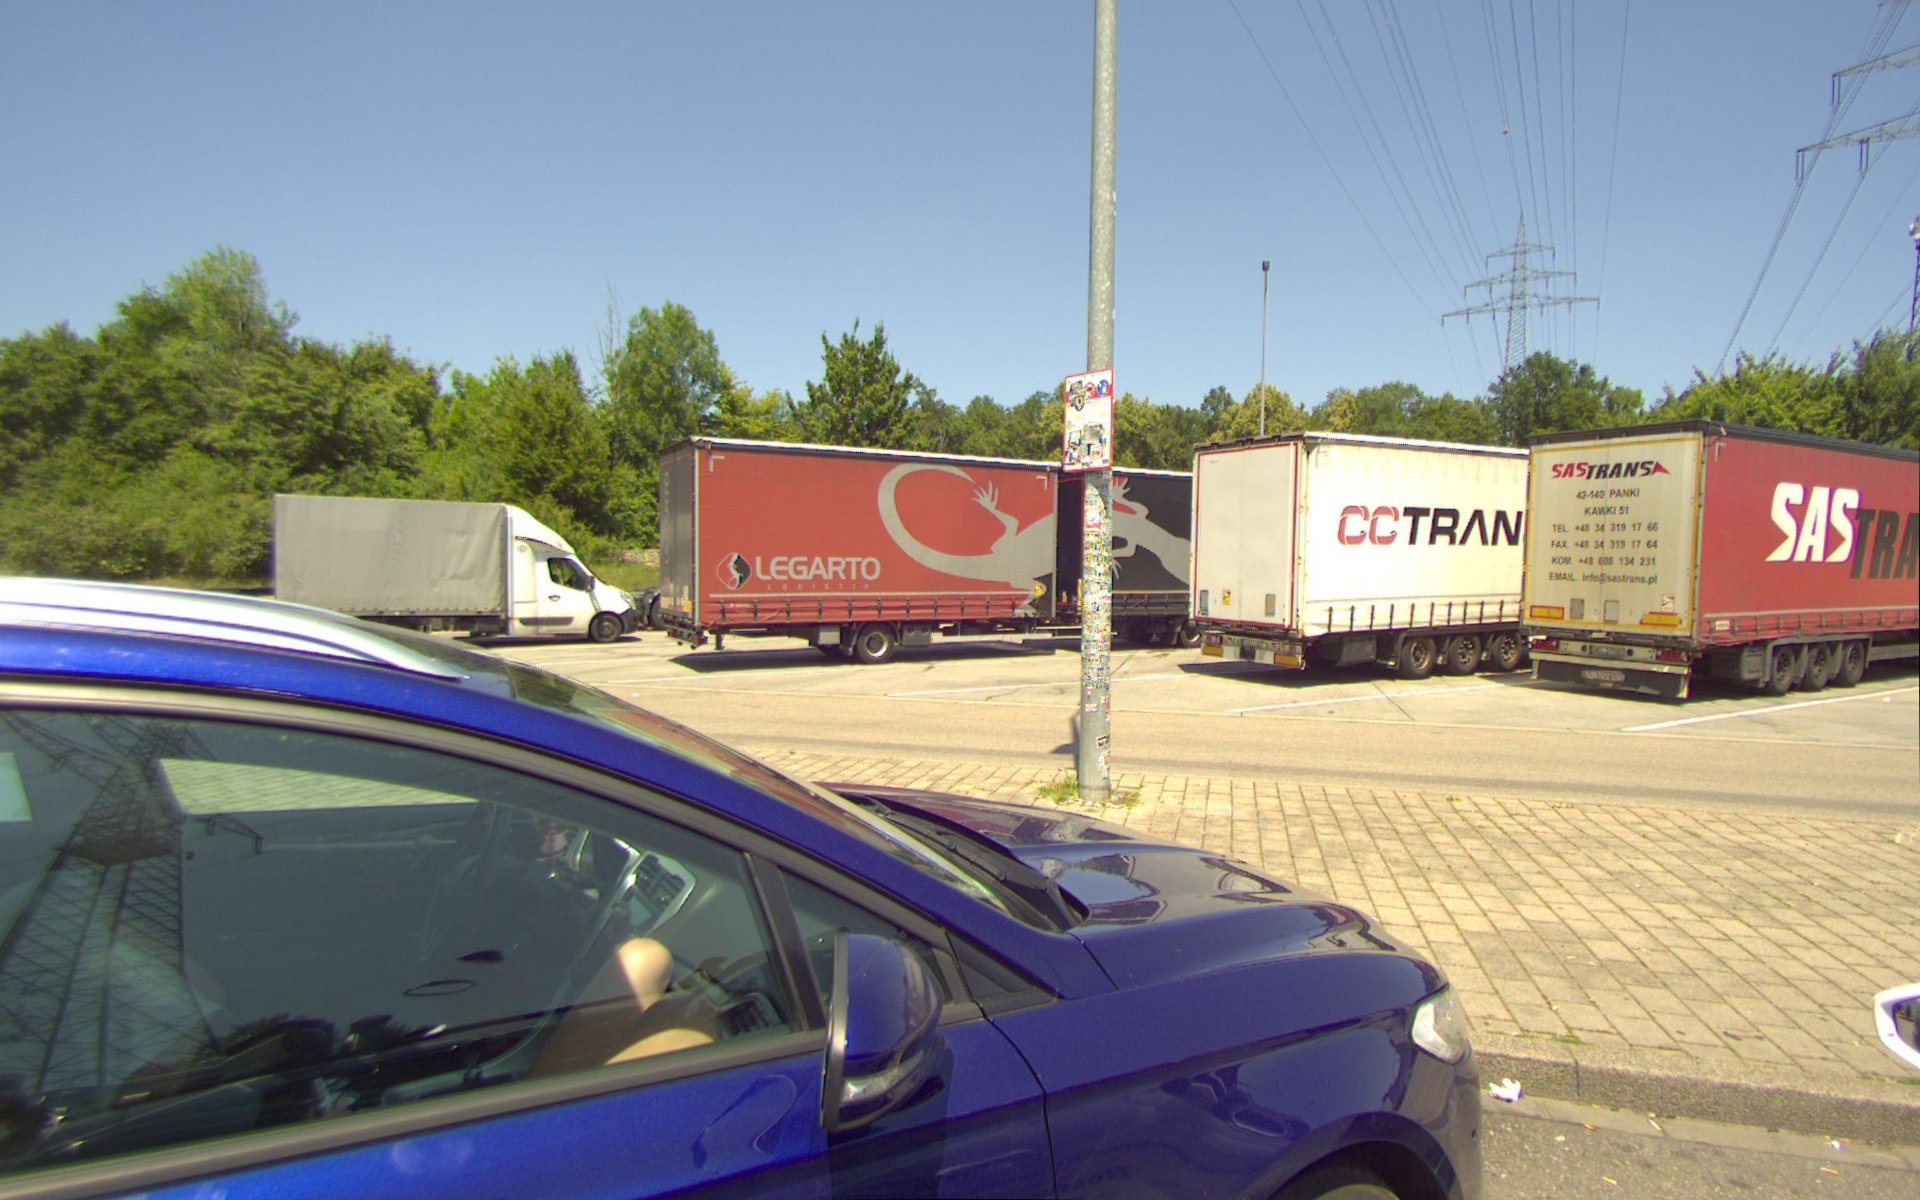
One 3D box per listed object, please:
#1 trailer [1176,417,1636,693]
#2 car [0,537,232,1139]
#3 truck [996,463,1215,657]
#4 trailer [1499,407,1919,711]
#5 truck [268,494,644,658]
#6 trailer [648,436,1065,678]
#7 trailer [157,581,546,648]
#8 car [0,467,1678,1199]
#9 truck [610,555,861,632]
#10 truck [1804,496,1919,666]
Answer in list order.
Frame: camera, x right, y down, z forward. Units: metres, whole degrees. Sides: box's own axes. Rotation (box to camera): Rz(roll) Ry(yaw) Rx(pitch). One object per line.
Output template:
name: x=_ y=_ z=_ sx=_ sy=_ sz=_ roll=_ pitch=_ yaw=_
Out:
trailer: x=8.876 y=-0.820 z=19.326 sx=10.049 sy=4.267 sz=2.714 roll=-1 pitch=3 yaw=-30
car: x=-4.541 y=0.587 z=2.251 sx=4.592 sy=1.554 sz=1.726 roll=0 pitch=1 yaw=-33
truck: x=3.365 y=-0.905 z=23.358 sx=4.273 sy=4.072 sz=2.689 roll=-1 pitch=3 yaw=-30
trailer: x=15.415 y=-0.702 z=18.562 sx=13.559 sy=4.189 sz=2.892 roll=-1 pitch=3 yaw=-30
truck: x=-11.193 y=-0.574 z=22.897 sx=7.254 sy=3.254 sz=2.515 roll=-1 pitch=3 yaw=-30
trailer: x=-1.917 y=-0.830 z=20.263 sx=7.996 sy=4.101 sz=2.696 roll=-1 pitch=3 yaw=-30
trailer: x=-14.822 y=0.257 z=25.180 sx=7.996 sy=1.394 sz=2.211 roll=-1 pitch=3 yaw=-30
car: x=-0.967 y=0.660 z=1.467 sx=4.592 sy=1.502 sz=1.727 roll=0 pitch=0 yaw=-33
truck: x=-6.475 y=-0.166 z=29.522 sx=6.961 sy=2.040 sz=1.984 roll=0 pitch=0 yaw=-30
truck: x=21.736 y=-0.431 z=22.308 sx=5.418 sy=3.475 sz=2.838 roll=-1 pitch=3 yaw=-30
